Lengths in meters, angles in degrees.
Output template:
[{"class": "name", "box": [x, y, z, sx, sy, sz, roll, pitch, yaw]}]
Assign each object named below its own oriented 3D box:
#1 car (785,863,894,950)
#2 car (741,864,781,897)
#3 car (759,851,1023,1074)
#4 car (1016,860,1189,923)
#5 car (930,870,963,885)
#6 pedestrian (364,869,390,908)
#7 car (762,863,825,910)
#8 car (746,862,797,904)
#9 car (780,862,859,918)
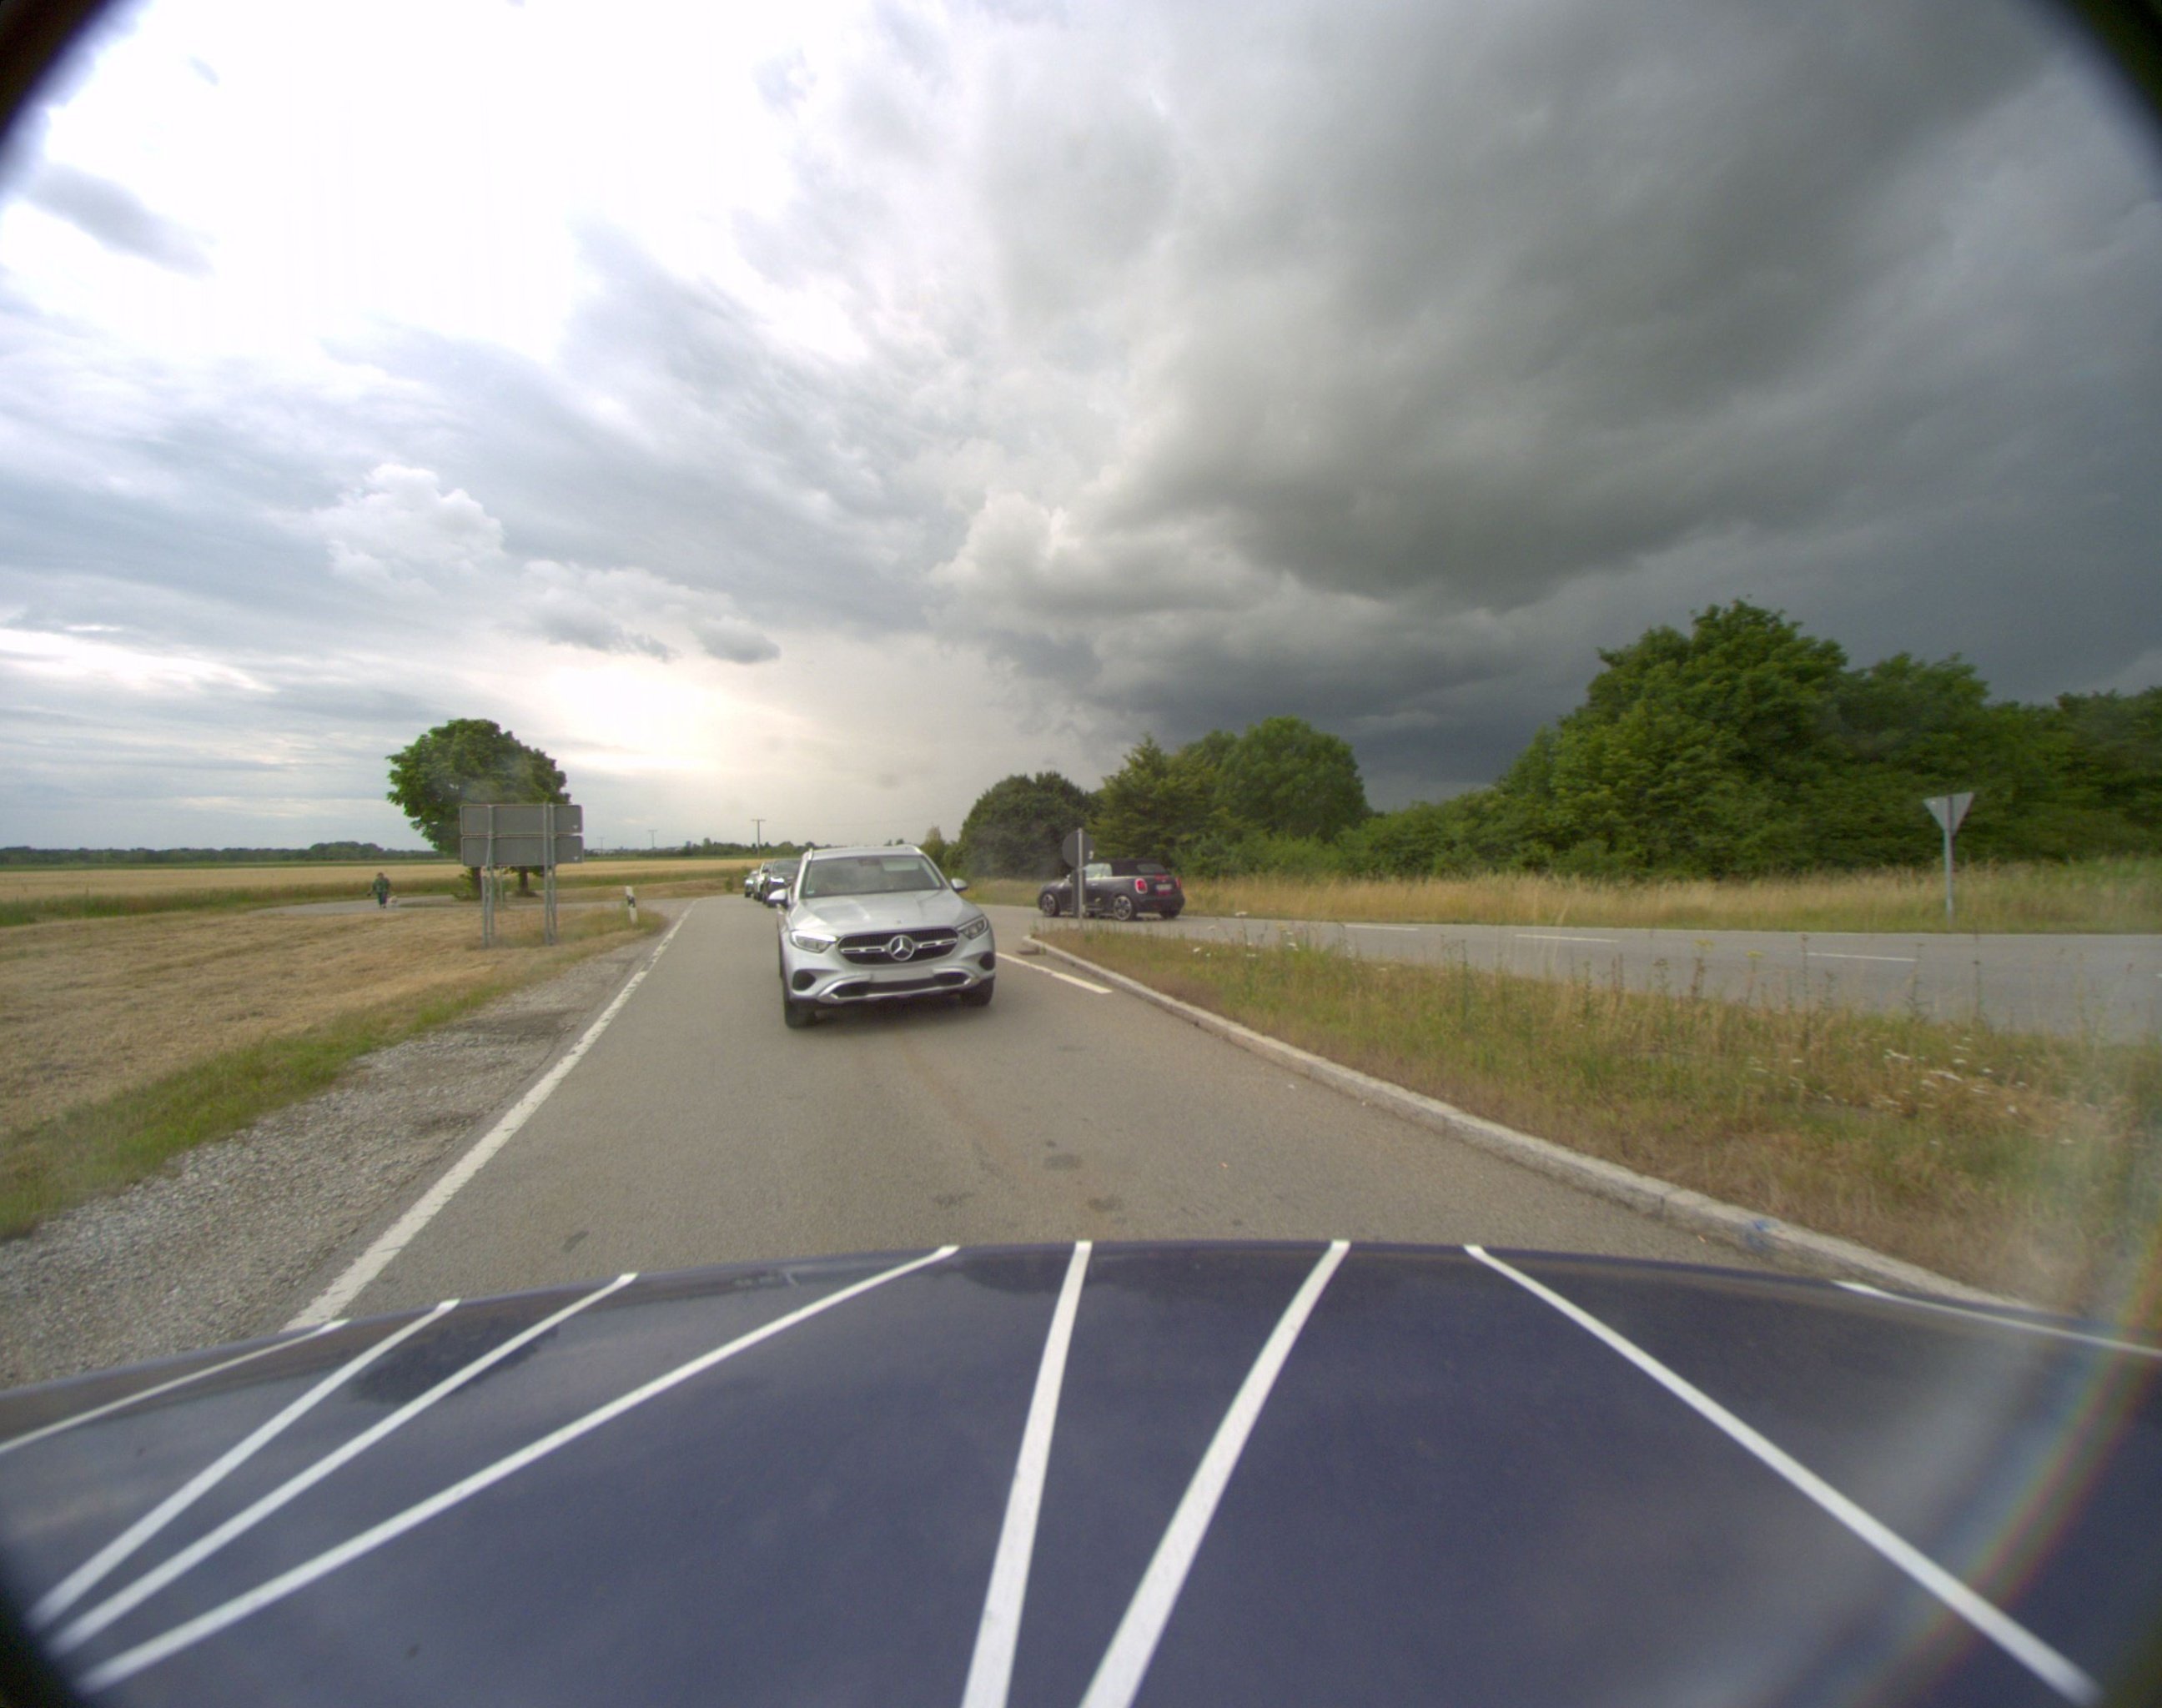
[{"class": "car", "box": [-5.178, 0.958, 15.870, 1.724, 1.345, 4.686, -4, 2, -22]}, {"class": "car", "box": [-17.020, 1.377, 40.309, 1.724, 1.486, 4.205, -4, 2, -24]}, {"class": "car", "box": [-2.279, 0.823, 8.181, 1.999, 1.577, 4.385, -4, 2, -22]}, {"class": "car", "box": [0.421, 0.864, 18.414, 1.678, 1.344, 4.157, -1, -1, -45]}, {"class": "car", "box": [-15.382, 2.660, 87.153, 1.818, 1.524, 4.007, 0, 1, 25]}, {"class": "pedestrian", "box": [-30.490, 1.488, 32.897, 0.775, 1.602, 0.942, -2, 1, -42]}, {"class": "car", "box": [-10.151, 1.074, 26.622, 1.724, 1.345, 4.205, -4, 2, -24]}, {"class": "car", "box": [-13.253, 1.188, 32.405, 1.724, 1.486, 4.628, -4, 2, -24]}, {"class": "car", "box": [-7.630, 0.959, 21.932, 1.724, 1.345, 4.205, -1, 1, -24]}]
